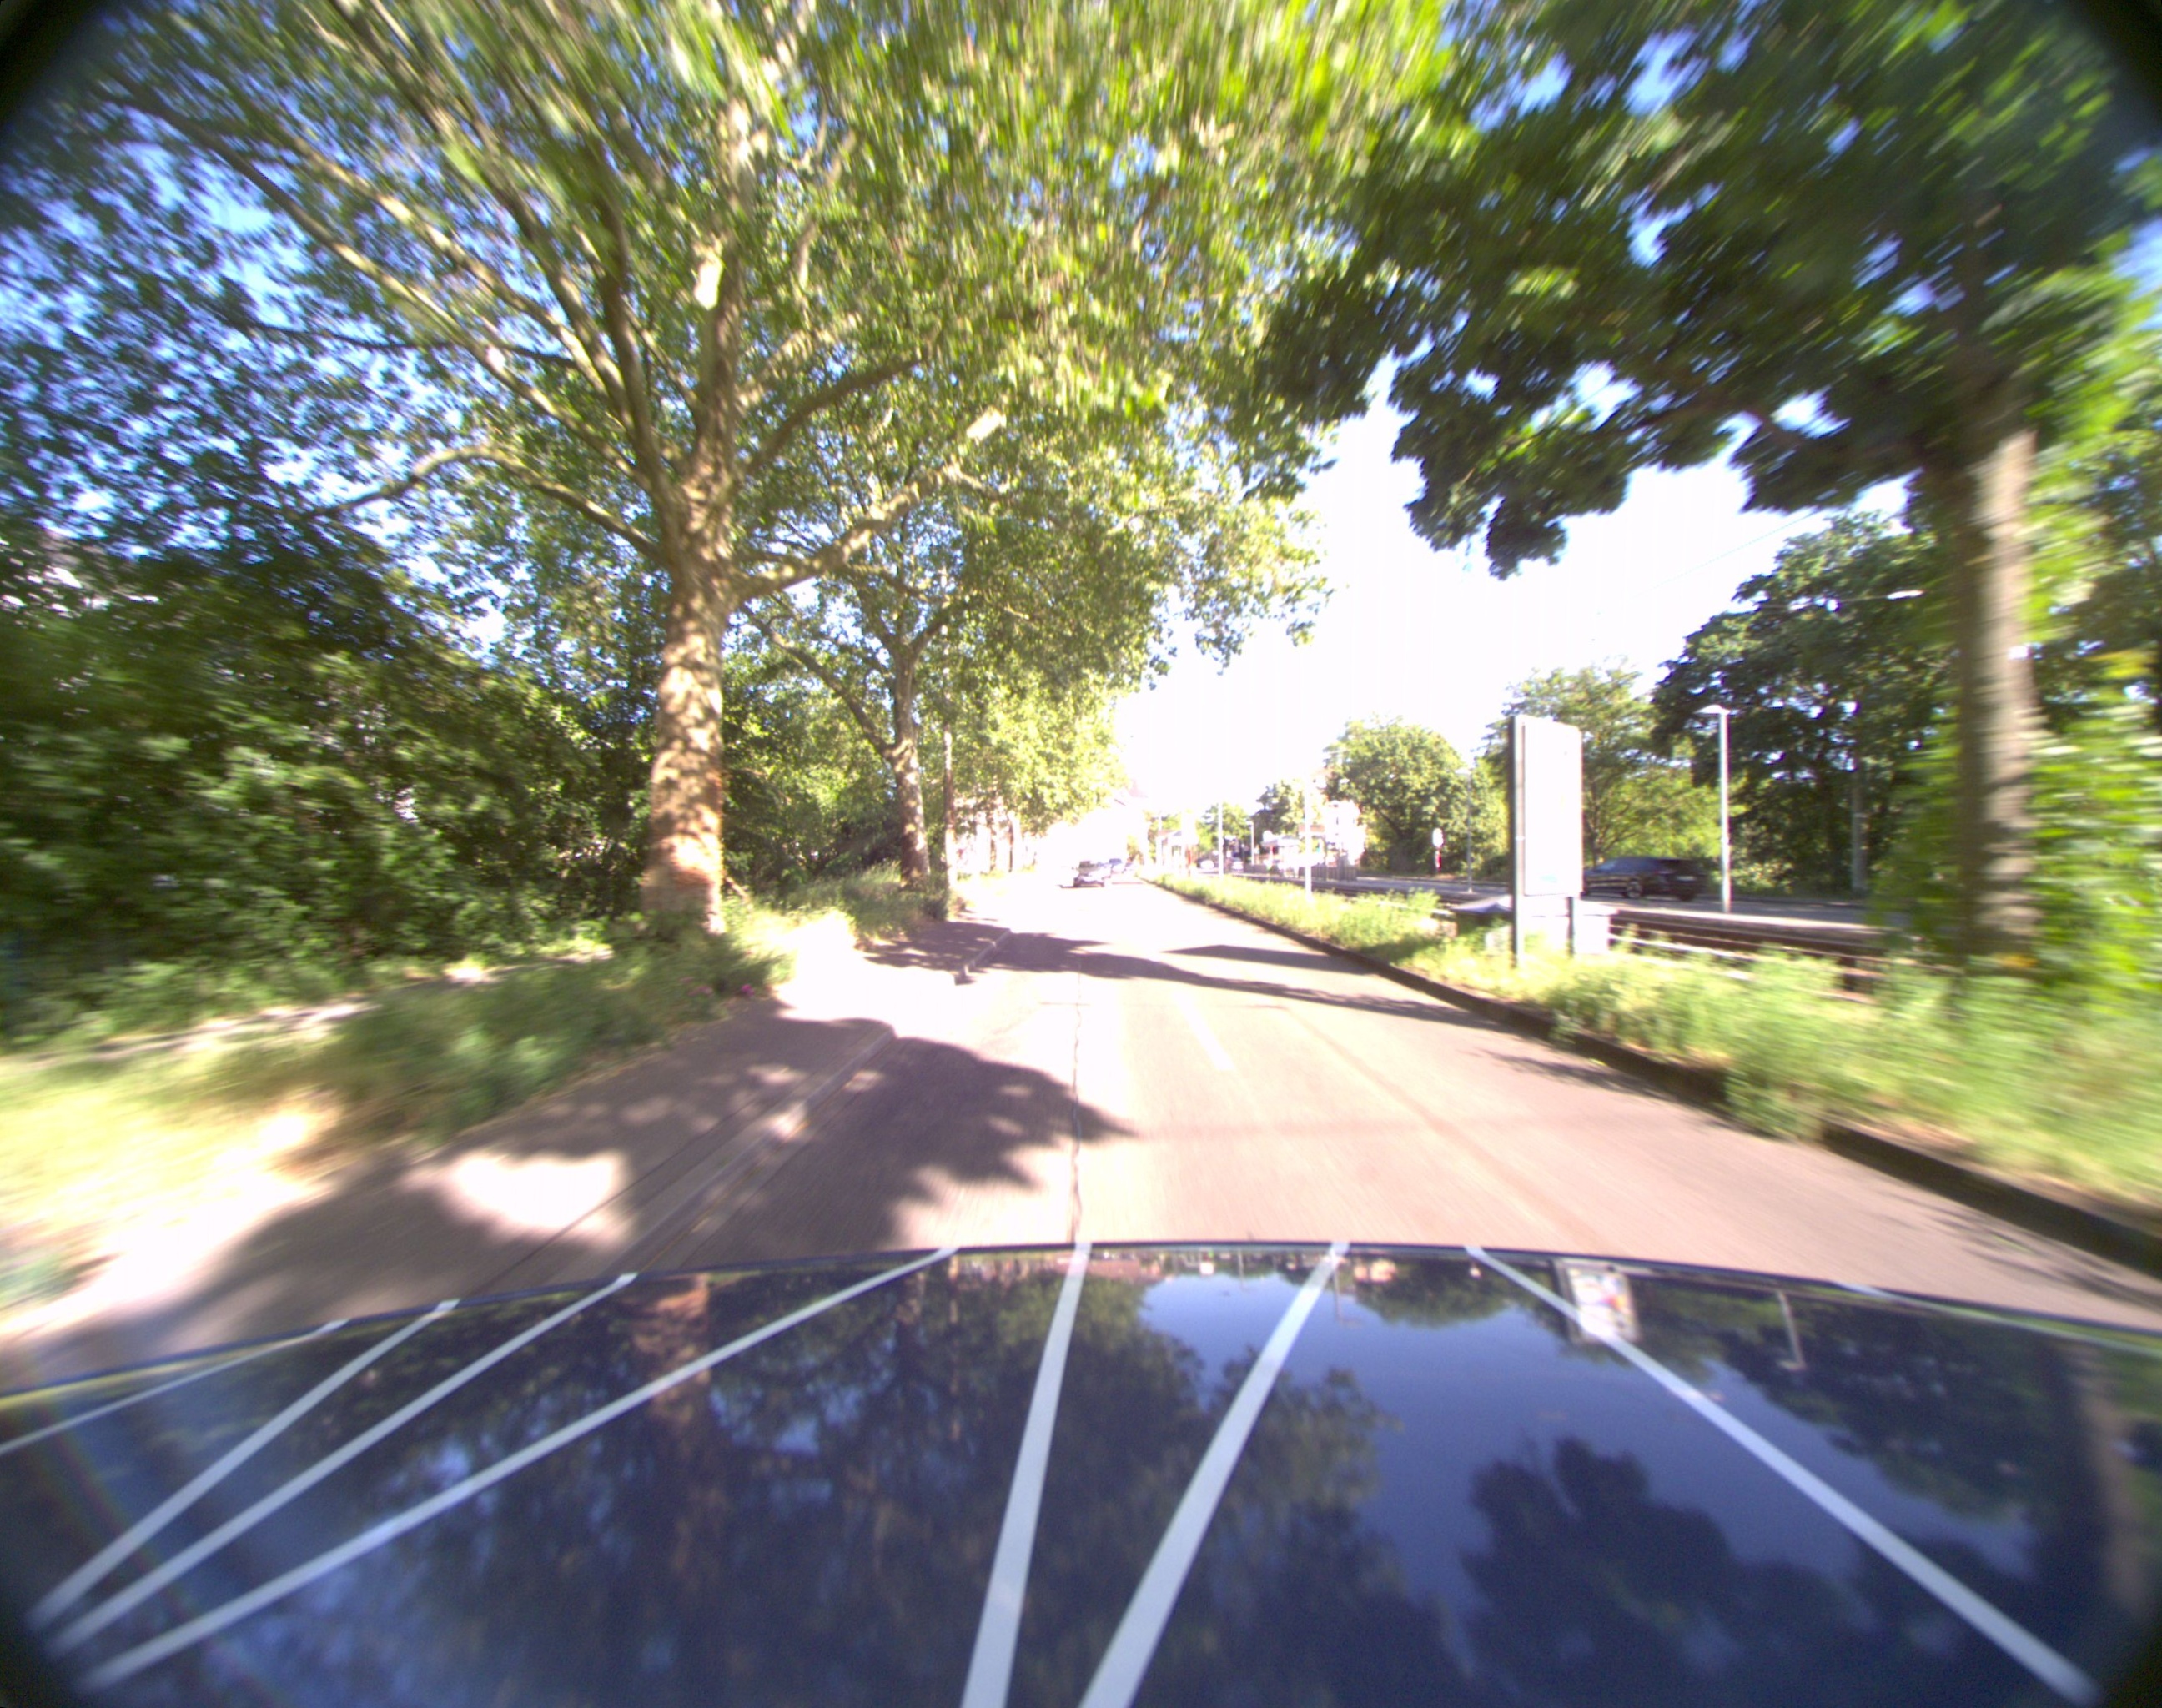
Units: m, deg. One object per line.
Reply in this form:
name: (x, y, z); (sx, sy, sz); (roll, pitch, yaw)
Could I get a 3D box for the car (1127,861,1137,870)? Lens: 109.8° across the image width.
car: (7.944, 1.828, 118.615); (1.405, 1.205, 3.240); (-2, 0, 5)

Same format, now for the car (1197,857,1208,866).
car: (22.540, 1.323, 140.937); (1.852, 1.478, 3.548); (-2, 0, 6)

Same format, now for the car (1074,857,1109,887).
car: (0.557, 0.944, 42.041); (1.808, 1.478, 3.546); (-2, 0, 0)

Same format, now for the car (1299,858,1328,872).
car: (20.413, 0.970, 66.845); (1.493, 1.111, 3.676); (-2, 0, 2)

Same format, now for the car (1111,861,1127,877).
car: (3.888, 1.479, 77.972); (1.590, 1.478, 3.547); (-2, 0, 2)

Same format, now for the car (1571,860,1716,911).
car: (19.069, 0.988, 26.059); (1.640, 1.486, 4.592); (2, 1, 2)

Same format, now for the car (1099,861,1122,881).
car: (2.406, 1.374, 62.226); (1.714, 1.478, 3.547); (-2, 0, 2)

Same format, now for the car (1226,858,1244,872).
car: (19.243, 1.359, 95.098); (1.613, 1.548, 3.673); (-2, 0, 2)

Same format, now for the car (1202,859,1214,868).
car: (20.543, 1.525, 123.082); (1.852, 1.371, 3.442); (-2, 0, 11)

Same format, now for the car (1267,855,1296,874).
car: (17.355, 0.901, 65.921); (1.613, 1.548, 3.673); (-2, 0, 2)
